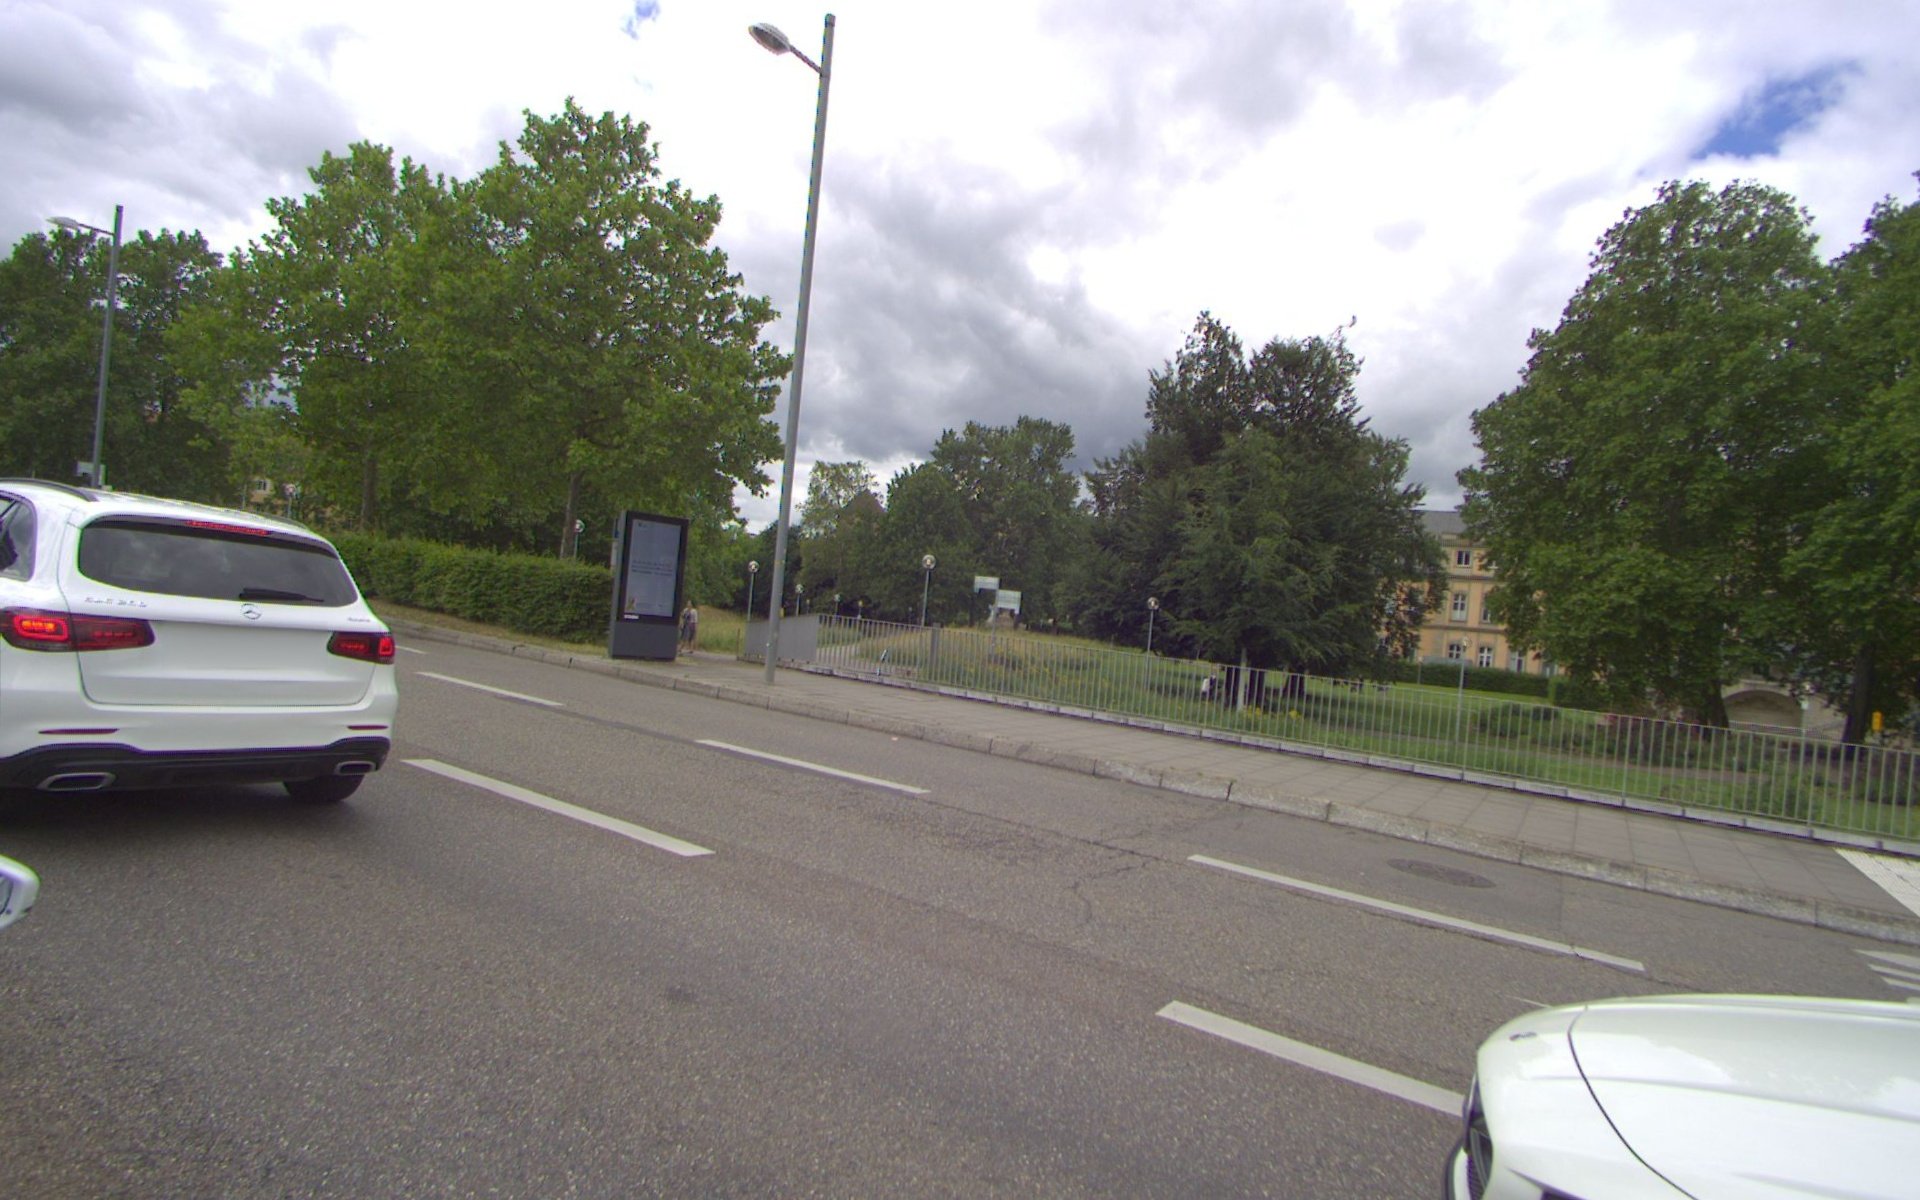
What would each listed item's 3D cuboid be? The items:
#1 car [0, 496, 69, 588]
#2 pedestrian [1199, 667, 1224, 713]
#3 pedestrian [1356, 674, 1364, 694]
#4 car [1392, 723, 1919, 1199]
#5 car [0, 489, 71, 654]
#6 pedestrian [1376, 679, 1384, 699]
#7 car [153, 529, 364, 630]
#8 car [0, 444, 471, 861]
[{"bbox_3d":[-20.088,-1.351,20.310,4.234,1.659,1.996,7,-1,33],"label":"car"},{"bbox_3d":[9.315,3.321,37.308,0.645,1.619,0.684,6,-2,6],"label":"pedestrian"},{"bbox_3d":[37.196,7.833,93.490,0.462,1.756,0.404,5,-3,44],"label":"pedestrian"},{"bbox_3d":[2.992,1.184,1.076,4.454,1.436,1.796,5,-2,33],"label":"car"},{"bbox_3d":[-11.330,-0.504,10.456,4.417,1.569,1.929,6,-2,33],"label":"car"},{"bbox_3d":[38.656,8.176,92.528,0.460,1.756,0.405,5,-2,32],"label":"pedestrian"},{"bbox_3d":[-13.388,-0.421,19.103,4.460,1.476,1.932,5,-3,38],"label":"car"},{"bbox_3d":[-5.170,0.085,6.001,4.416,1.673,1.929,7,-1,33],"label":"car"}]
